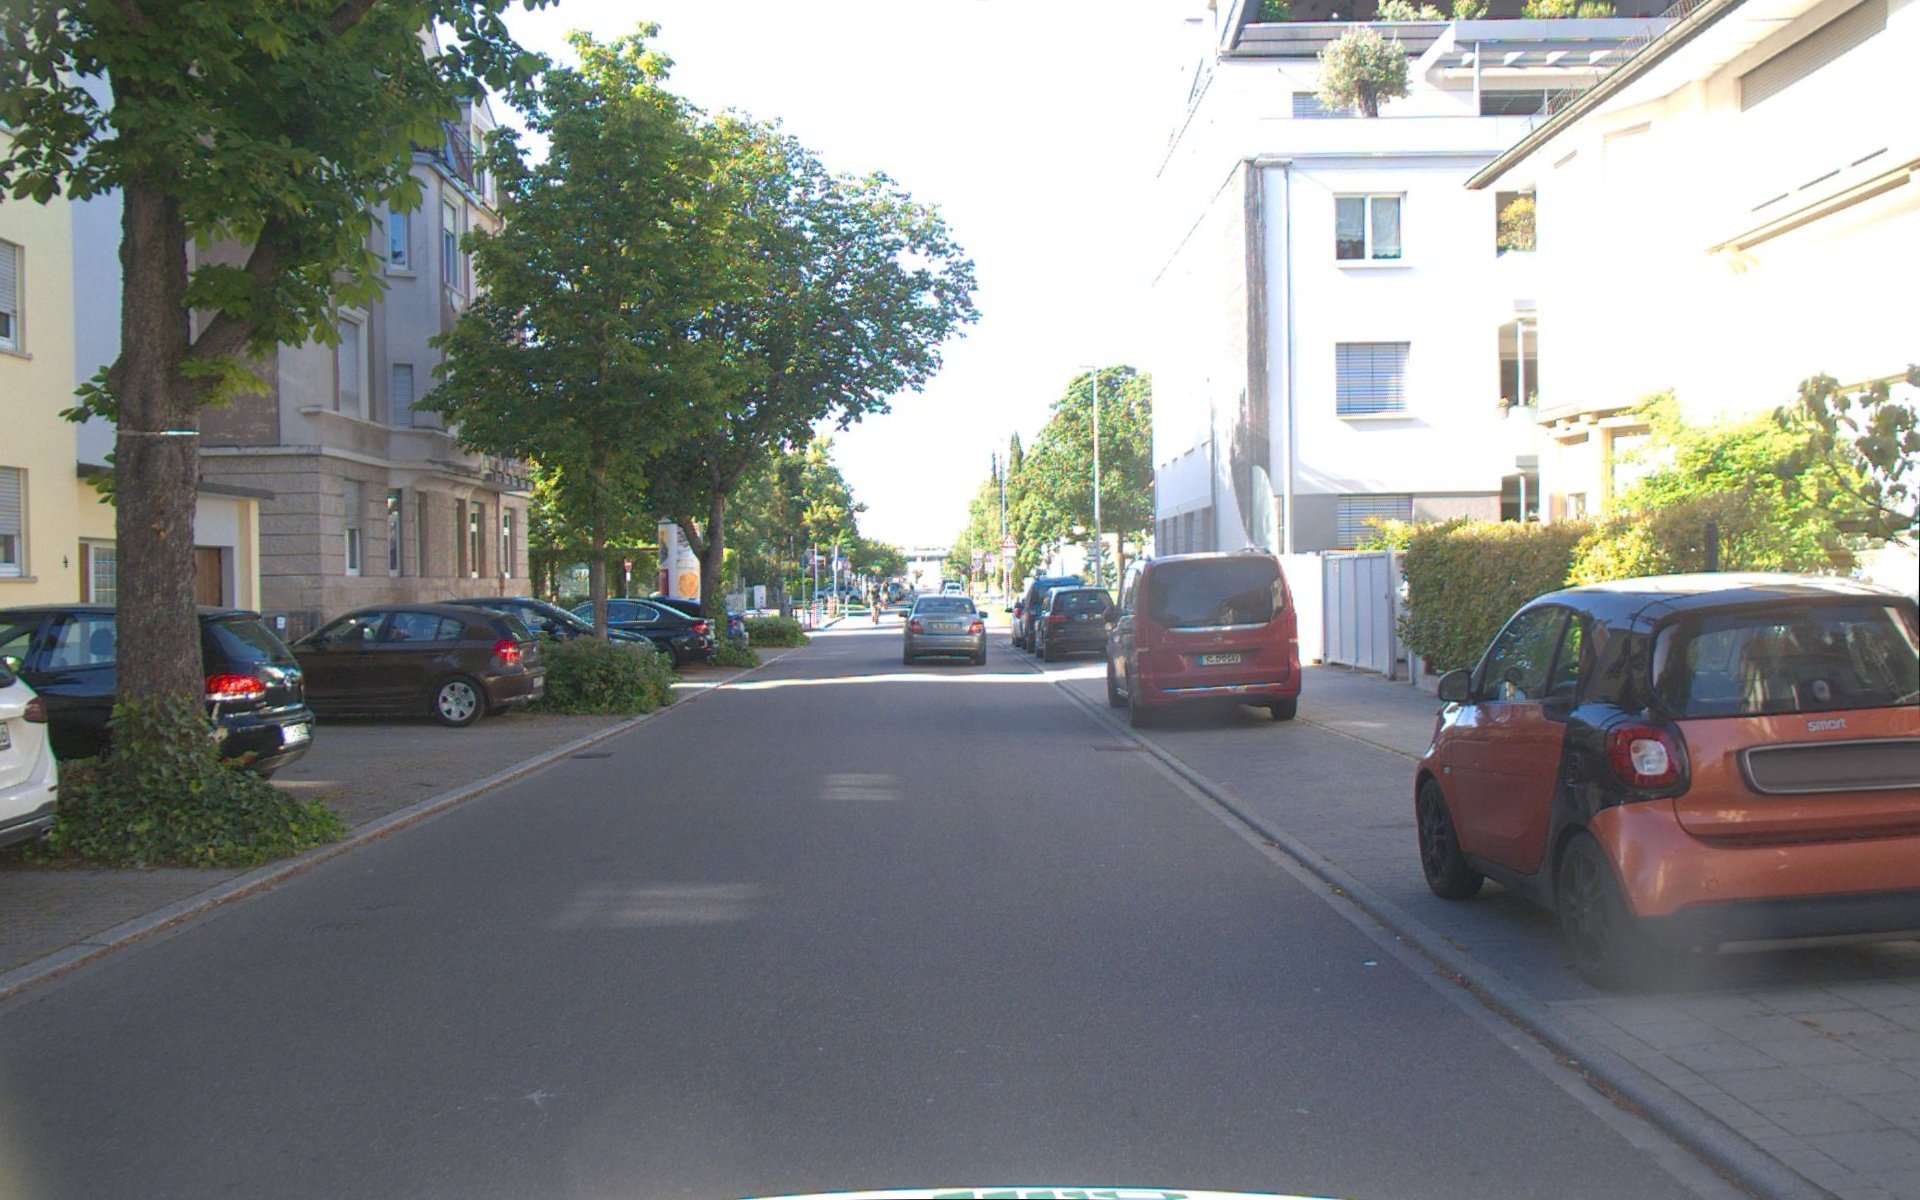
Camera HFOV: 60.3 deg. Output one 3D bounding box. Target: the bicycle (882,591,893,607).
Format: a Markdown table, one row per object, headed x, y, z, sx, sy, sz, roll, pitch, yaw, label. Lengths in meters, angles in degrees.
| x | y | z | sx | sy | sz | roll | pitch | yaw | label |
| --- | --- | --- | --- | --- | --- | --- | --- | --- | --- |
| -4.447 | -0.063 | 101.603 | 0.577 | 0.948 | 1.850 | -1 | 1 | 0 | bicycle |

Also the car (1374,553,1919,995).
| x | y | z | sx | sy | sz | roll | pitch | yaw | label |
| --- | --- | --- | --- | --- | --- | --- | --- | --- | --- |
| 3.133 | 0.601 | 7.530 | 1.560 | 1.506 | 3.246 | -3 | 0 | -1 | car |

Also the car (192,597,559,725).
| x | y | z | sx | sy | sz | roll | pitch | yaw | label |
| --- | --- | --- | --- | --- | --- | --- | --- | --- | --- |
| -7.104 | 0.722 | 20.403 | 3.907 | 1.446 | 1.770 | 0 | 2 | -2 | car |

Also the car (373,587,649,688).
| x | y | z | sx | sy | sz | roll | pitch | yaw | label |
| --- | --- | --- | --- | --- | --- | --- | --- | --- | --- |
| -7.224 | 0.603 | 27.030 | 4.094 | 1.526 | 1.996 | 1 | -1 | -8 | car |

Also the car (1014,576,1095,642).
| x | y | z | sx | sy | sz | roll | pitch | yaw | label |
| --- | --- | --- | --- | --- | --- | --- | --- | --- | --- |
| 2.379 | 0.253 | 42.539 | 1.648 | 1.459 | 4.264 | -5 | -1 | -1 | car |

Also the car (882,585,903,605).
| x | y | z | sx | sy | sz | roll | pitch | yaw | label |
| --- | --- | --- | --- | --- | --- | --- | --- | --- | --- |
| -6.223 | -0.431 | 152.287 | 1.752 | 1.559 | 3.995 | -2 | -2 | -5 | car |

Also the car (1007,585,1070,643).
| x | y | z | sx | sy | sz | roll | pitch | yaw | label |
| --- | --- | --- | --- | --- | --- | --- | --- | --- | --- |
| 2.193 | 0.396 | 46.966 | 1.532 | 1.435 | 3.729 | -5 | -1 | 0 | car |

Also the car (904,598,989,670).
| x | y | z | sx | sy | sz | roll | pitch | yaw | label |
| --- | --- | --- | --- | --- | --- | --- | --- | --- | --- |
| -0.275 | 0.711 | 35.576 | 1.691 | 1.445 | 3.960 | 1 | -1 | 0 | car |

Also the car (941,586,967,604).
| x | y | z | sx | sy | sz | roll | pitch | yaw | label |
| --- | --- | --- | --- | --- | --- | --- | --- | --- | --- |
| -0.514 | -0.395 | 131.616 | 1.689 | 1.353 | 3.995 | -1 | 0 | -5 | car |

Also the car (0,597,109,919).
| x | y | z | sx | sy | sz | roll | pitch | yaw | label |
| --- | --- | --- | --- | --- | --- | --- | --- | --- | --- |
| -6.523 | 0.724 | 7.899 | 3.941 | 1.510 | 1.806 | 1 | 0 | -2 | car |

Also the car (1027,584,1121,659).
| x | y | z | sx | sy | sz | roll | pitch | yaw | label |
| --- | --- | --- | --- | --- | --- | --- | --- | --- | --- |
| 2.470 | 0.440 | 36.745 | 1.701 | 1.558 | 4.178 | -1 | 0 | -1 | car |

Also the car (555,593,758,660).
| x | y | z | sx | sy | sz | roll | pitch | yaw | label |
| --- | --- | --- | --- | --- | --- | --- | --- | --- | --- |
| -6.970 | 0.610 | 38.334 | 4.384 | 1.505 | 1.867 | 0 | -1 | -3 | car |

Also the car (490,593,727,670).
| x | y | z | sx | sy | sz | roll | pitch | yaw | label |
| --- | --- | --- | --- | --- | --- | --- | --- | --- | --- |
| -6.966 | 0.623 | 33.157 | 4.384 | 1.505 | 1.867 | 0 | -1 | -3 | car |

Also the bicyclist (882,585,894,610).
| x | y | z | sx | sy | sz | roll | pitch | yaw | label |
| --- | --- | --- | --- | --- | --- | --- | --- | --- | --- |
| -4.437 | -0.145 | 101.591 | 0.666 | 1.535 | 0.655 | -1 | 0 | 0 | bicyclist |

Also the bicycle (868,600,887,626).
| x | y | z | sx | sy | sz | roll | pitch | yaw | label |
| --- | --- | --- | --- | --- | --- | --- | --- | --- | --- |
| -3.648 | 0.571 | 73.238 | 0.705 | 1.098 | 1.890 | -2 | 0 | -1 | bicycle |

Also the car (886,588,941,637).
| x | y | z | sx | sy | sz | roll | pitch | yaw | label |
| --- | --- | --- | --- | --- | --- | --- | --- | --- | --- |
| -1.499 | 0.414 | 52.942 | 1.672 | 1.473 | 4.201 | 1 | -1 | -2 | car |

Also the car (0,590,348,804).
| x | y | z | sx | sy | sz | roll | pitch | yaw | label |
| --- | --- | --- | --- | --- | --- | --- | --- | --- | --- |
| -6.866 | 0.672 | 12.336 | 3.944 | 1.469 | 1.798 | 1 | -1 | -6 | car |

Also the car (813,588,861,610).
| x | y | z | sx | sy | sz | roll | pitch | yaw | label |
| --- | --- | --- | --- | --- | --- | --- | --- | --- | --- |
| -9.209 | -0.105 | 123.728 | 3.428 | 1.560 | 1.642 | -1 | 0 | -8 | car |

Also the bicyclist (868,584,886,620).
| x | y | z | sx | sy | sz | roll | pitch | yaw | label |
| --- | --- | --- | --- | --- | --- | --- | --- | --- | --- |
| -3.689 | 0.070 | 73.258 | 0.706 | 1.563 | 1.137 | -1 | 0 | -1 | bicyclist |

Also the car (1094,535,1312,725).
| x | y | z | sx | sy | sz | roll | pitch | yaw | label |
| --- | --- | --- | --- | --- | --- | --- | --- | --- | --- |
| 2.784 | 0.330 | 20.127 | 1.833 | 1.938 | 5.197 | -2 | 0 | 0 | car |
